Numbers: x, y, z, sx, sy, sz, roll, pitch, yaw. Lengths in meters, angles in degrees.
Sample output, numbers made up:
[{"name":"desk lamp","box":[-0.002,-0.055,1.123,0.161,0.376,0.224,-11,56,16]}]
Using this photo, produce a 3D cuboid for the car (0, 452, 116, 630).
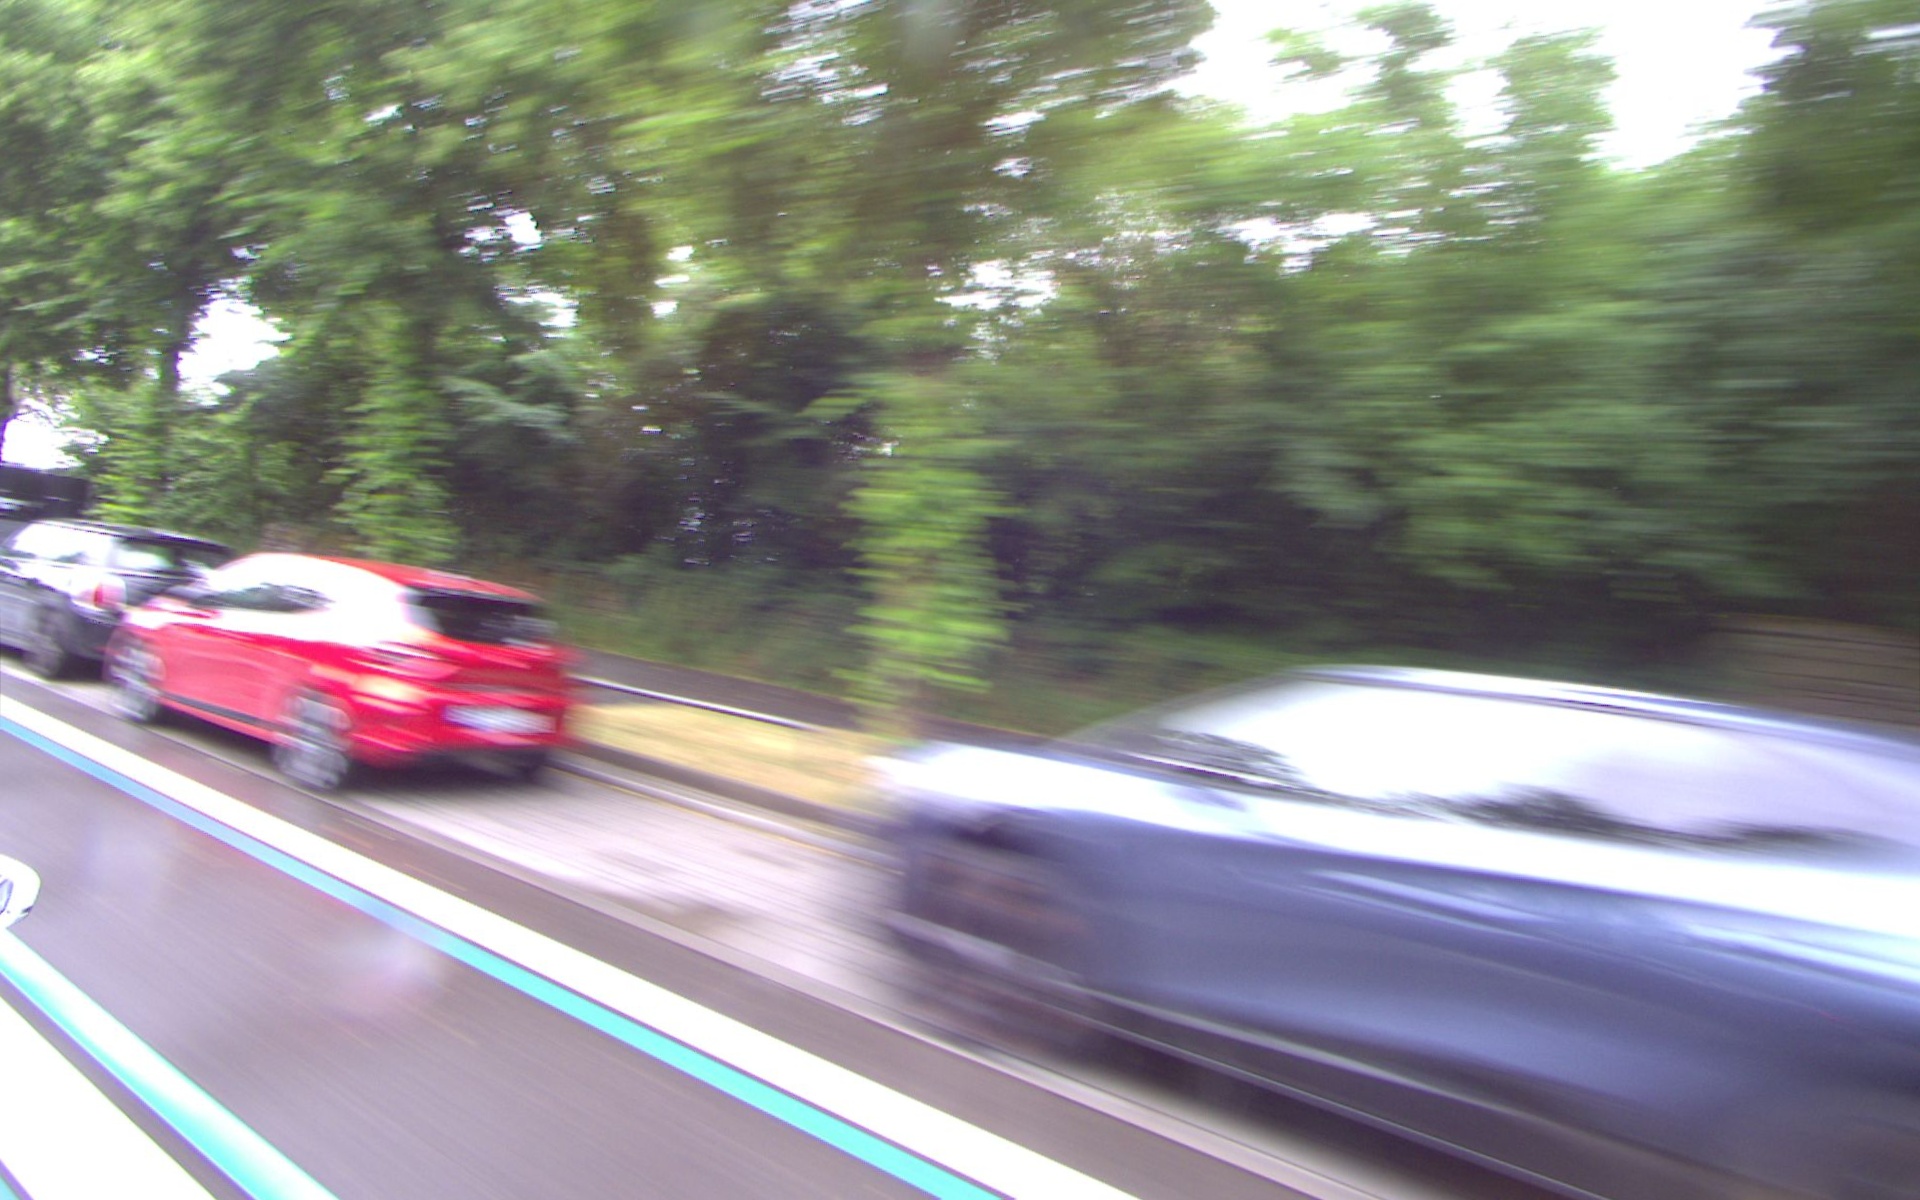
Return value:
[{"name":"car","box":[-13.330,-0.964,13.253,4.587,2.046,1.929,7,-1,32]}]

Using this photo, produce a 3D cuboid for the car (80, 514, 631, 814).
[{"name":"car","box":[-4.607,0.364,7.517,4.096,1.469,1.690,7,-2,31]}]

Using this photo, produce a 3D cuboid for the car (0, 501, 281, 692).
[{"name":"car","box":[-8.702,-0.106,10.140,3.685,1.469,1.609,7,-2,32]}]

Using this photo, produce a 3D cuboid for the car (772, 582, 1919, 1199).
[{"name":"car","box":[1.659,1.051,3.620,4.424,1.608,1.760,7,-2,32]}]
